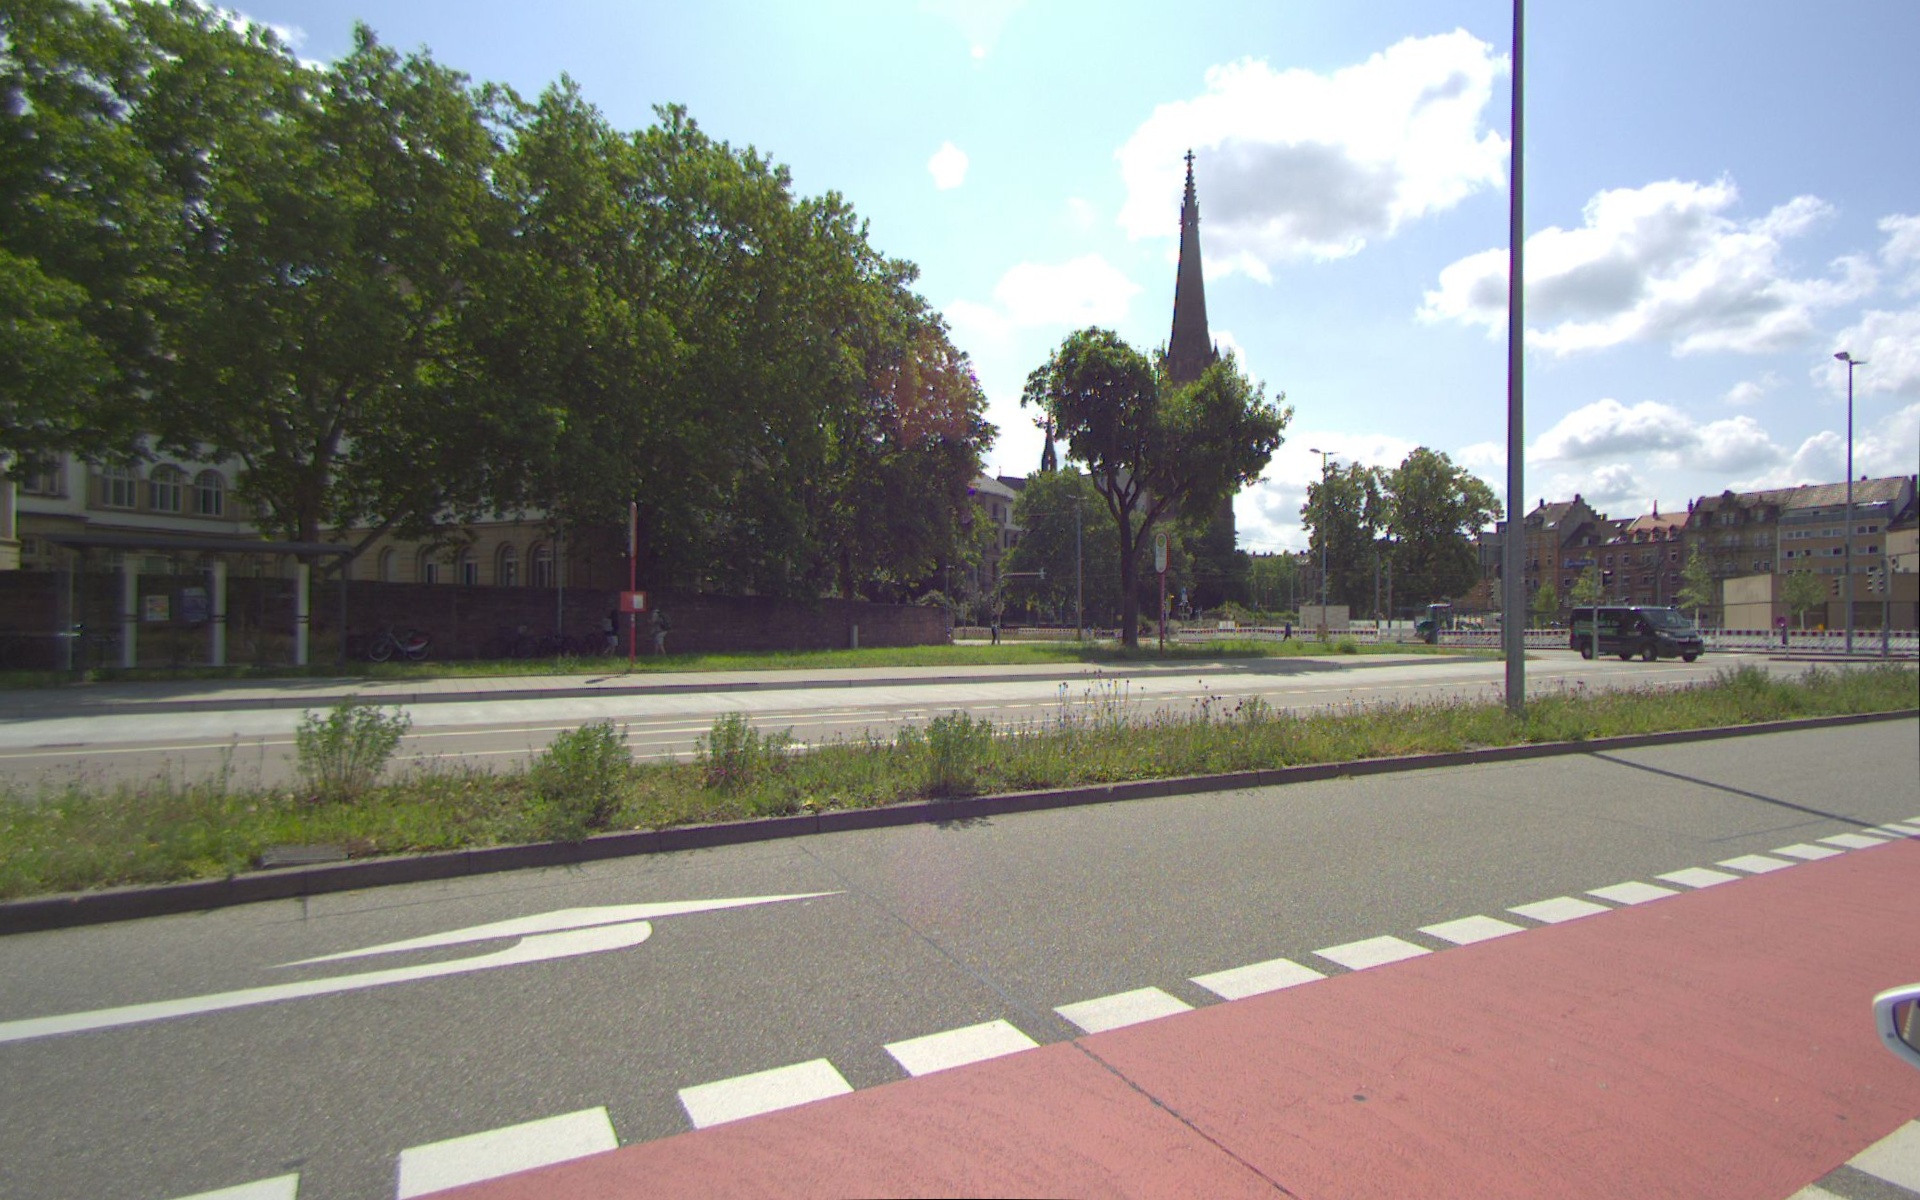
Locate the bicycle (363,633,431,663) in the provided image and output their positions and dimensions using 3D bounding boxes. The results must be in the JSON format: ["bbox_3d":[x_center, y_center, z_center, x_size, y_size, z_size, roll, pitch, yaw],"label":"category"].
[{"bbox_3d":[-16.234,1.375,29.014,0.324,0.828,1.743,0,-1,36],"label":"bicycle"}]

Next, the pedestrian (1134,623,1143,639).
[{"bbox_3d":[19.904,3.451,112.002,0.842,1.685,0.751,0,-1,29],"label":"pedestrian"}]

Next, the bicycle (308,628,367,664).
[{"bbox_3d":[-17.154,1.260,27.717,0.260,0.977,1.391,0,-1,36],"label":"bicycle"}]

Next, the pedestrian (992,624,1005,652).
[{"bbox_3d":[2.878,2.803,74.670,0.713,2.040,0.721,1,-1,-32],"label":"pedestrian"}]

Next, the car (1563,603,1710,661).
[{"bbox_3d":[27.360,1.326,40.879,2.115,2.204,5.013,0,-3,-8],"label":"car"}]

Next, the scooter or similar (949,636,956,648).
[{"bbox_3d":[-0.434,2.470,58.985,0.117,0.721,1.005,0,-1,17],"label":"scooter or similar"}]

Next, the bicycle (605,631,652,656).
[{"bbox_3d":[-11.770,1.529,35.683,0.324,0.828,1.743,0,-1,36],"label":"bicycle"}]

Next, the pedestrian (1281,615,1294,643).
[{"bbox_3d":[23.960,2.100,73.474,0.625,2.040,0.643,1,-1,-32],"label":"pedestrian"}]

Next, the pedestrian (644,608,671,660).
[{"bbox_3d":[-8.758,0.969,29.100,0.627,1.492,0.506,1,-1,-32],"label":"pedestrian"}]

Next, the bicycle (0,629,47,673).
[{"bbox_3d":[-21.251,1.133,22.325,0.260,0.977,1.391,0,-1,36],"label":"bicycle"}]

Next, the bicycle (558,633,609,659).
[{"bbox_3d":[-12.775,1.546,34.156,0.324,0.828,1.743,0,-1,36],"label":"bicycle"}]

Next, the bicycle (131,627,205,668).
[{"bbox_3d":[-19.412,1.153,24.646,0.260,0.977,1.391,0,-1,36],"label":"bicycle"}]

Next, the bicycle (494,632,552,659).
[{"bbox_3d":[-14.004,1.457,32.215,0.378,0.828,1.743,0,-1,36],"label":"bicycle"}]

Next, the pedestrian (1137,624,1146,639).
[{"bbox_3d":[20.377,3.527,112.668,0.842,1.685,0.751,0,-1,29],"label":"pedestrian"}]

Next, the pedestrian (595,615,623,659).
[{"bbox_3d":[-11.509,1.211,32.952,0.720,1.413,0.714,1,-1,-35],"label":"pedestrian"}]
